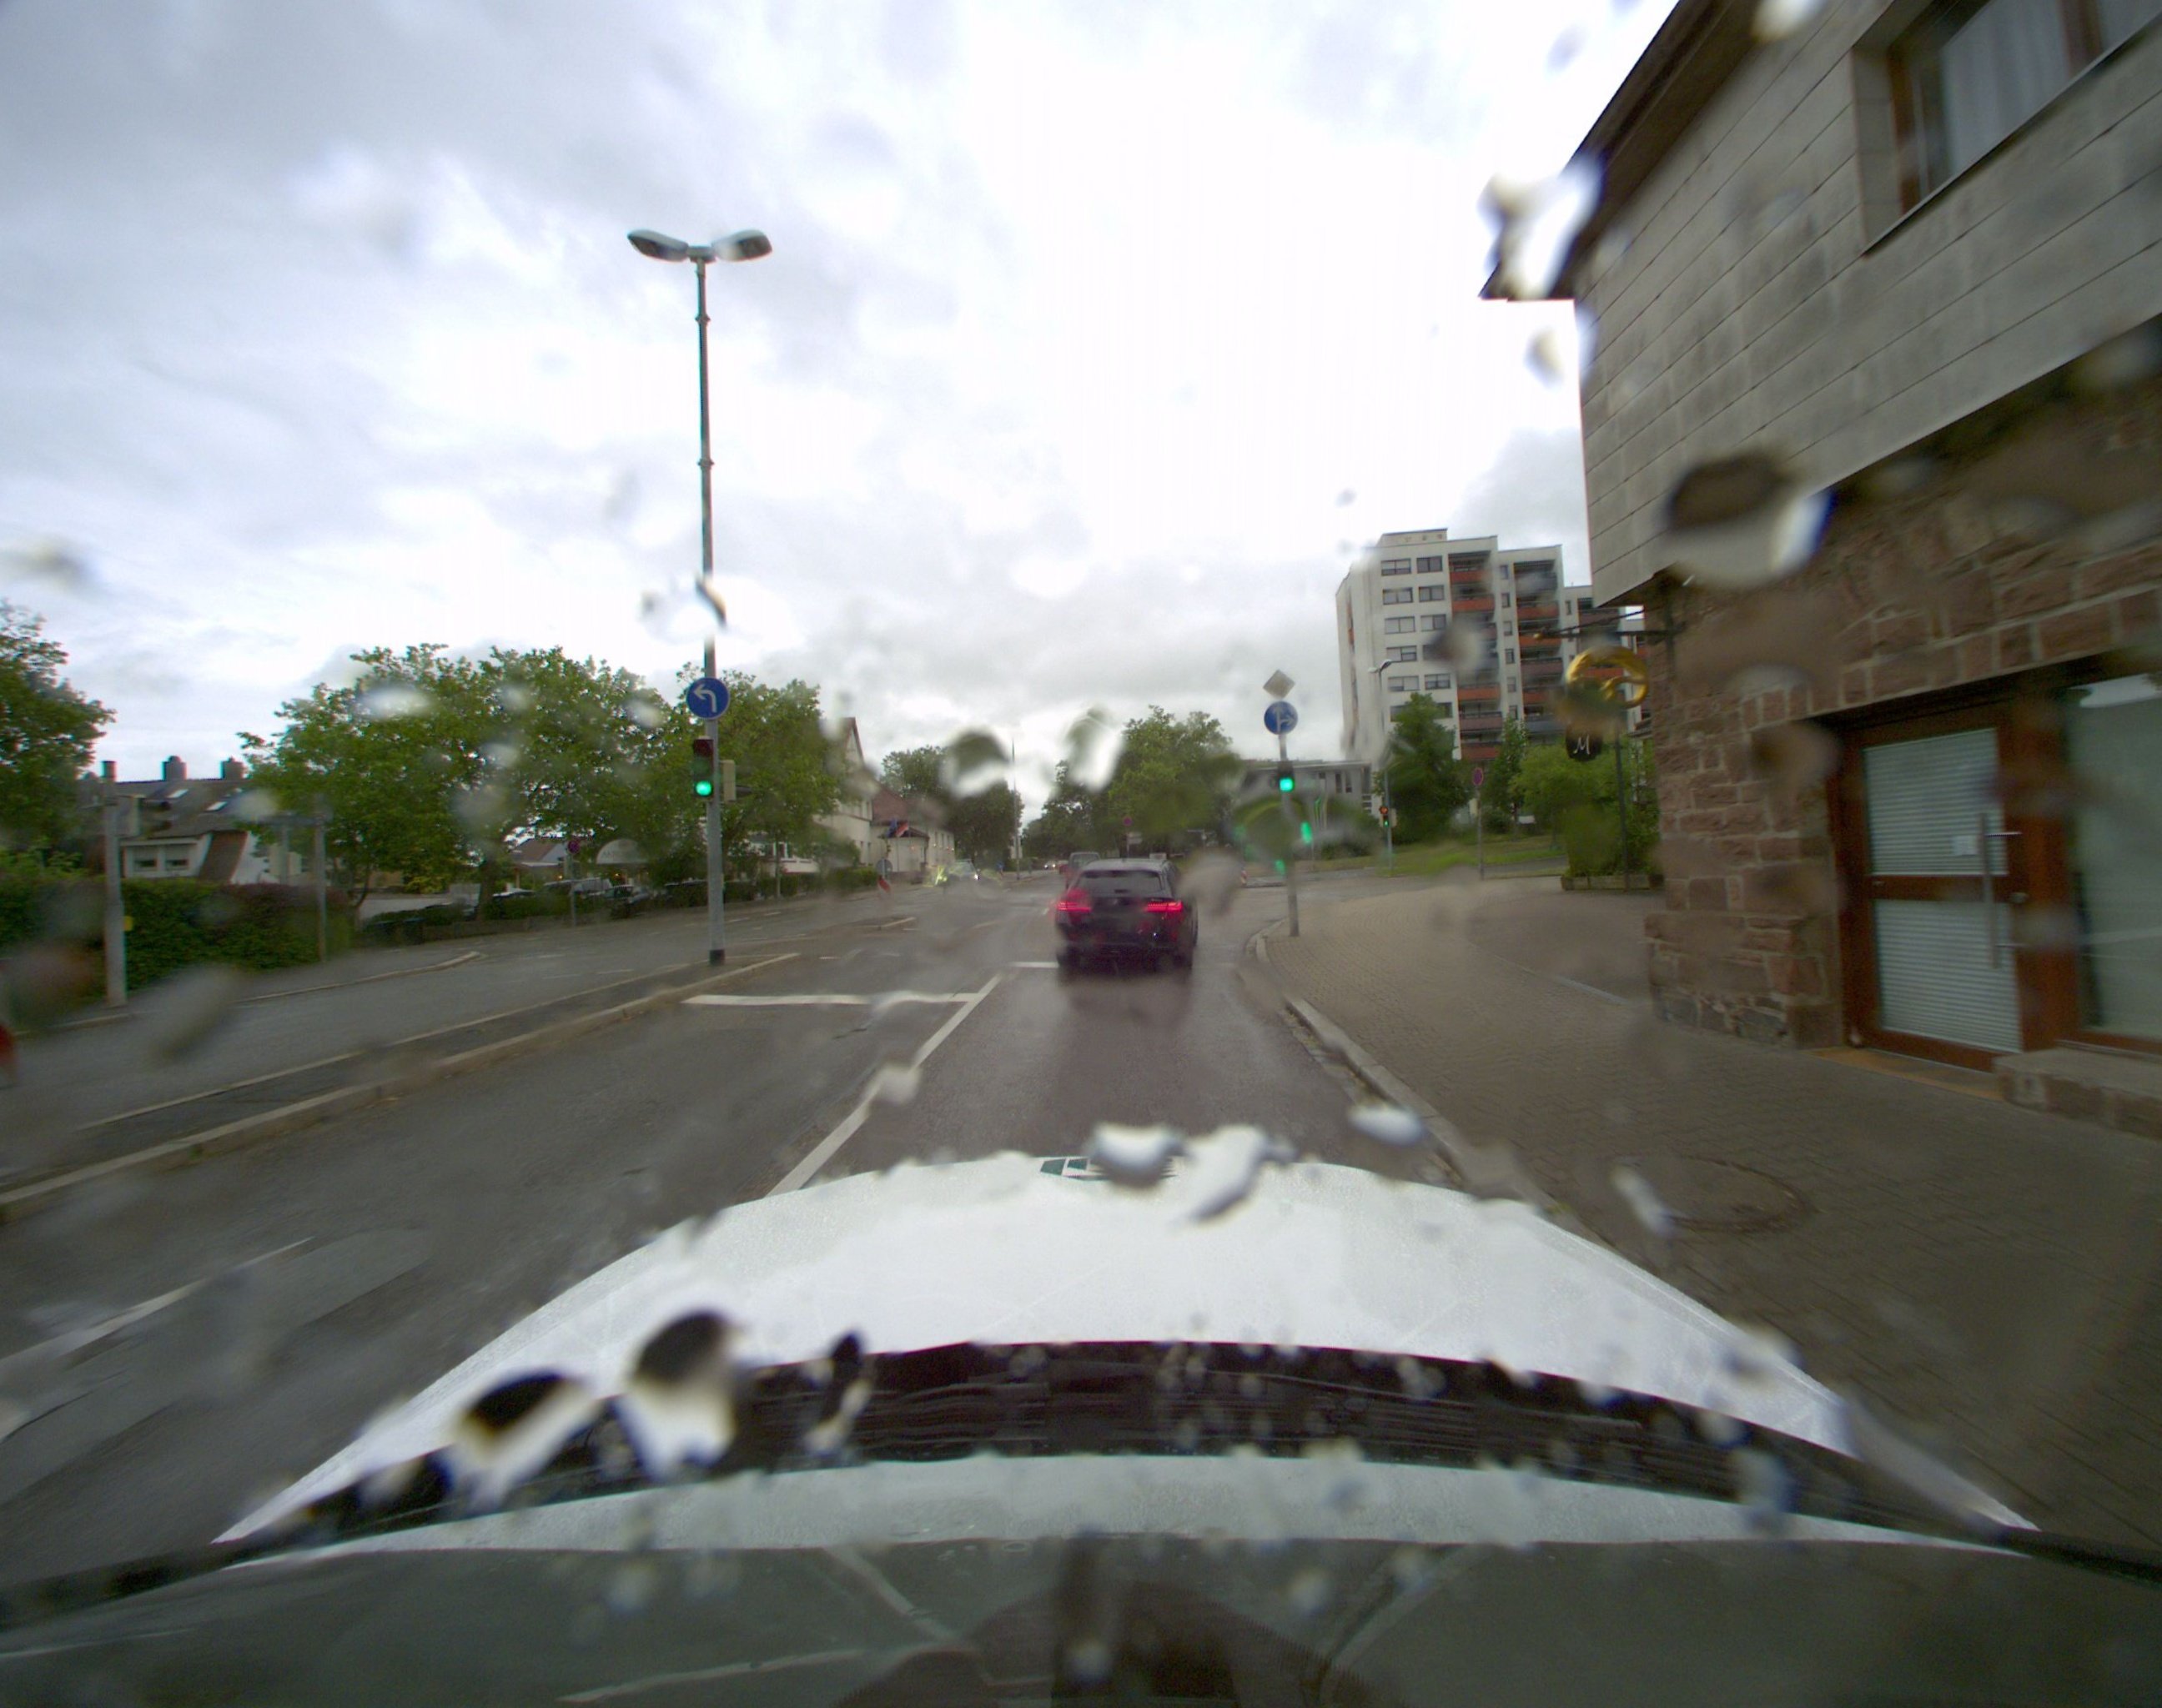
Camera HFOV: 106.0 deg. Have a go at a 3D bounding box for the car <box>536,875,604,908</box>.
[{"bbox_3d":[-33.048,2.400,52.818,1.989,2.014,3.996,-1,-1,-2],"label":"car"}]

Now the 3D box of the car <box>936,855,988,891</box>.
[{"bbox_3d":[-5.769,0.874,39.933,1.893,1.577,4.500,-3,0,-1],"label":"car"}]

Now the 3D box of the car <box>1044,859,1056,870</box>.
[{"bbox_3d":[-5.027,1.707,133.621,1.788,1.527,4.208,-3,0,0],"label":"car"}]

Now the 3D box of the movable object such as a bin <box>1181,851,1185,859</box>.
[{"bbox_3d":[11.807,0.095,94.272,0.446,0.906,0.465,-1,-1,17],"label":"movable object such as a bin"}]

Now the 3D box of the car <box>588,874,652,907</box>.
[{"bbox_3d":[-30.001,2.364,53.174,1.989,2.014,3.996,-1,-1,-2],"label":"car"}]

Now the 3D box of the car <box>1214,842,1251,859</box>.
[{"bbox_3d":[16.801,-0.394,90.586,3.963,1.816,2.005,-1,-1,9],"label":"car"}]

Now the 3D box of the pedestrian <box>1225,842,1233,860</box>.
[{"bbox_3d":[13.049,-0.276,71.855,0.597,1.617,0.527,-1,-1,8],"label":"pedestrian"}]

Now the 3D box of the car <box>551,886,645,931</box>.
[{"bbox_3d":[-21.741,2.412,36.867,1.803,1.551,4.000,-1,3,0],"label":"car"}]

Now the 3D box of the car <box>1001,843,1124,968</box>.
[{"bbox_3d":[-0.270,0.672,11.978,1.519,1.534,3.529,-1,-1,-1],"label":"car"}]

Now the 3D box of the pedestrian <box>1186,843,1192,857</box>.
[{"bbox_3d":[13.048,-0.494,98.589,0.556,1.763,0.727,-1,-1,-3],"label":"pedestrian"}]

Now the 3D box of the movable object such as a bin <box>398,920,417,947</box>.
[{"bbox_3d":[-27.233,3.214,32.944,0.446,1.043,0.413,-1,-1,17],"label":"movable object such as a bin"}]

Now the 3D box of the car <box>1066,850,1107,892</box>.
[{"bbox_3d":[0.201,0.801,38.260,1.807,1.809,3.754,-1,-1,-1],"label":"car"}]

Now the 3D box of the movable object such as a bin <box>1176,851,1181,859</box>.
[{"bbox_3d":[11.344,0.107,94.417,0.446,0.906,0.465,-1,-1,17],"label":"movable object such as a bin"}]

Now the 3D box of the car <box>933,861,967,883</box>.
[{"bbox_3d":[-9.858,1.345,61.633,1.903,1.427,4.413,-3,0,-1],"label":"car"}]
